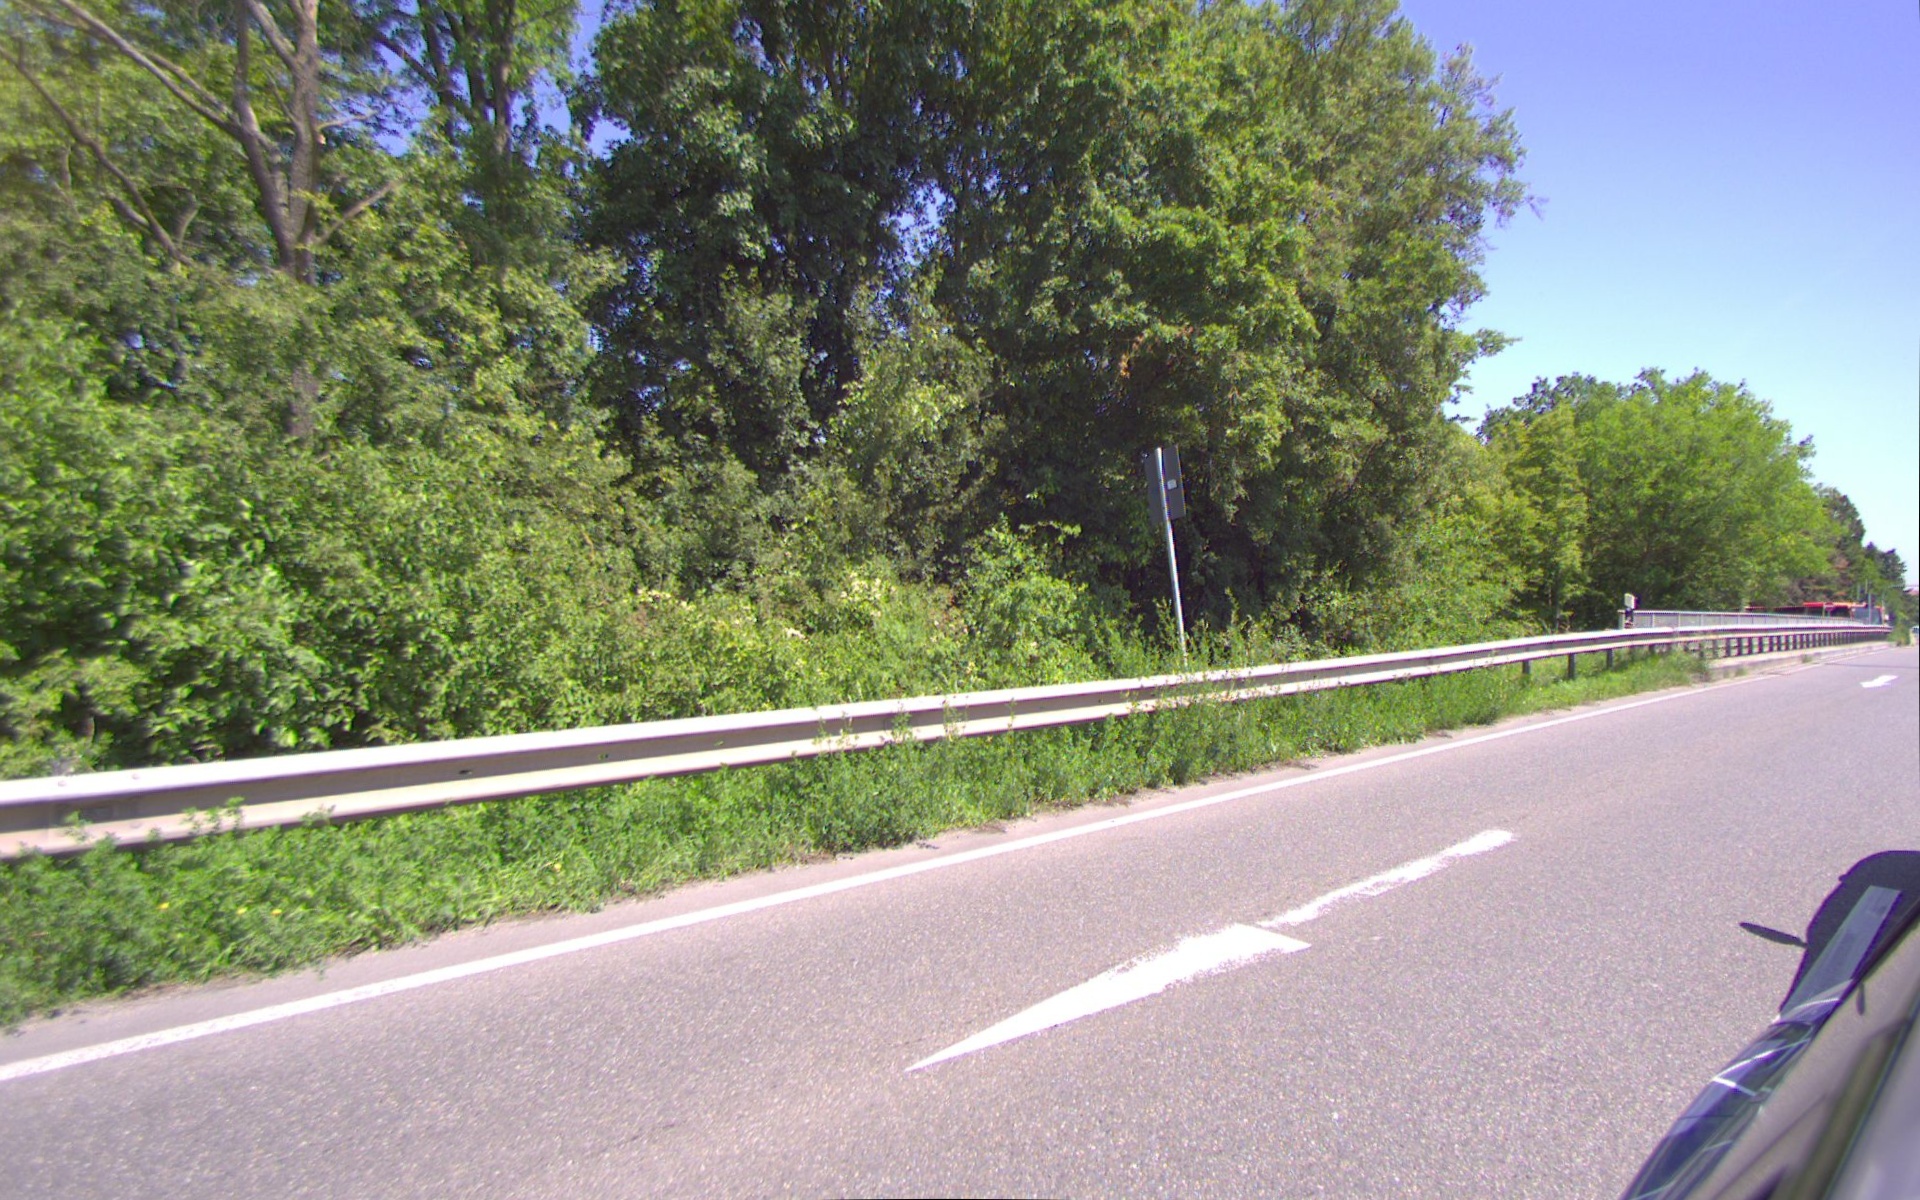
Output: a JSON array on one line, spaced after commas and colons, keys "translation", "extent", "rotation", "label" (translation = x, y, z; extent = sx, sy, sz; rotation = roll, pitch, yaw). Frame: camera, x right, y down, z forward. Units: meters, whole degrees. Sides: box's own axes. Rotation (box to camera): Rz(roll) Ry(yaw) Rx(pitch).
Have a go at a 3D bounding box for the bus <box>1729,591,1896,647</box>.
[{"translation": [64.551, 1.299, 77.256], "extent": [2.816, 3.708, 12.420], "rotation": [1, 1, 3], "label": "bus"}]
